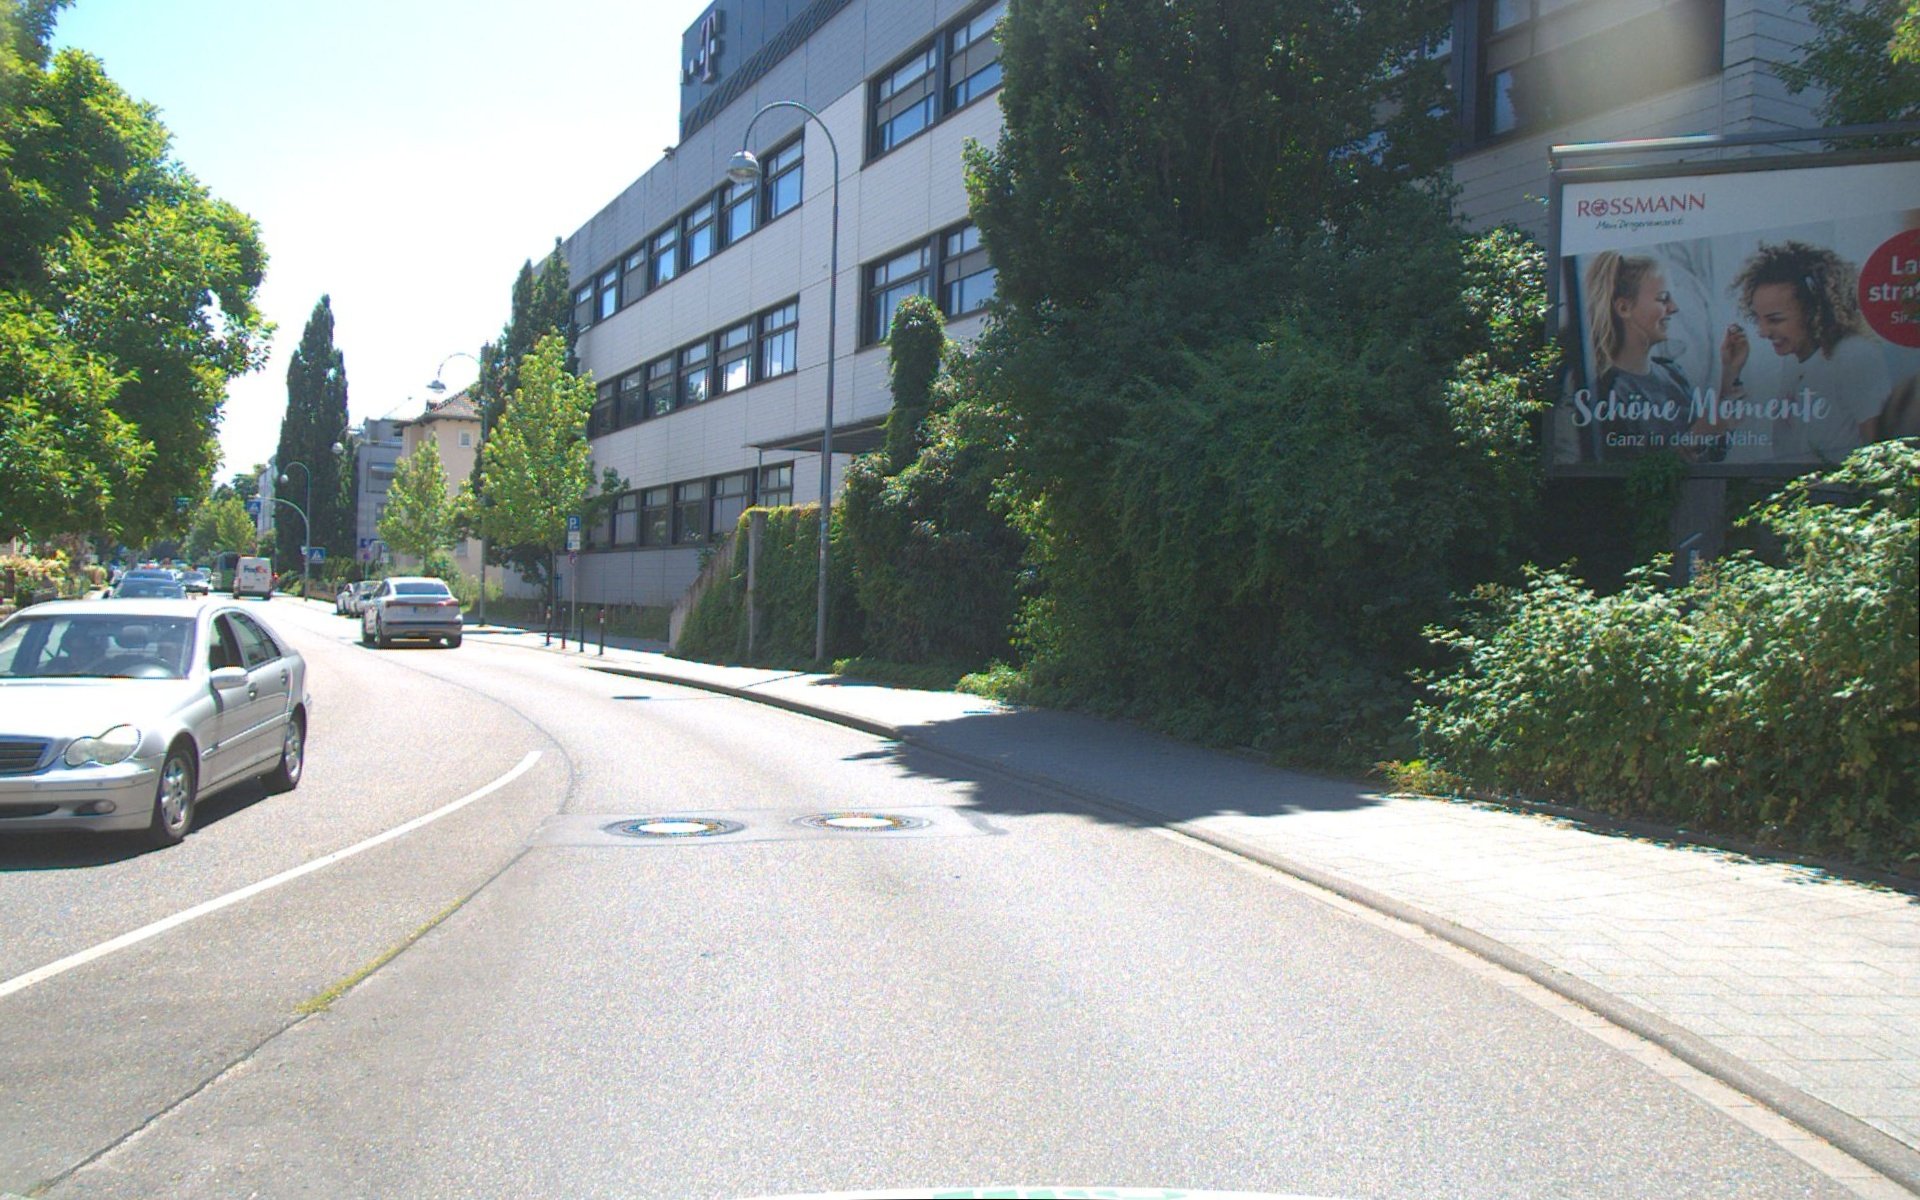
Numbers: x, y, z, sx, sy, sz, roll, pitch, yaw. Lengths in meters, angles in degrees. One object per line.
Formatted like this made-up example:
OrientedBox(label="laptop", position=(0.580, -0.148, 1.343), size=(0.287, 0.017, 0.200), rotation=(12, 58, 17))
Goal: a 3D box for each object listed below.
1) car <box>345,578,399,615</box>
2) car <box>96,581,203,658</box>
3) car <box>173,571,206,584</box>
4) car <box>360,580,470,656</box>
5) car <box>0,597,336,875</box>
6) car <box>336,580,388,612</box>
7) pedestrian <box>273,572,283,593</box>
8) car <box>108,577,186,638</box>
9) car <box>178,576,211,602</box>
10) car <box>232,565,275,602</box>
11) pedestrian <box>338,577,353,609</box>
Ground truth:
OrientedBox(label="car", position=(-25.217, -0.192, 70.830), size=(1.639, 1.514, 4.308), rotation=(0, 1, -27))
OrientedBox(label="car", position=(-17.813, 0.391, 36.406), size=(1.902, 1.461, 4.620), rotation=(4, -1, -26))
OrientedBox(label="car", position=(-107.935, -3.145, 231.680), size=(3.928, 1.680, 1.989), rotation=(1, 0, -20))
OrientedBox(label="car", position=(-13.441, 0.386, 40.651), size=(1.913, 1.642, 4.434), rotation=(-3, 2, -26))
OrientedBox(label="car", position=(-5.562, 0.732, 11.007), size=(1.725, 1.460, 4.296), rotation=(0, 1, -8))
OrientedBox(label="car", position=(-27.179, -0.216, 75.122), size=(1.705, 1.407, 4.363), rotation=(0, 1, -27))
OrientedBox(label="pedestrian", position=(-56.949, -1.487, 138.087), size=(0.687, 1.767, 0.661), rotation=(1, 0, -31))
OrientedBox(label="car", position=(-24.286, 0.189, 49.460), size=(1.902, 1.600, 4.620), rotation=(4, -1, -26))
OrientedBox(label="car", position=(-51.866, -0.739, 112.052), size=(1.949, 1.700, 4.436), rotation=(1, 0, -25))
OrientedBox(label="car", position=(-44.204, -1.059, 103.451), size=(2.046, 2.235, 5.091), rotation=(-1, 1, -28))
OrientedBox(label="pedestrian", position=(-34.614, -0.407, 93.138), size=(0.631, 1.789, 0.610), rotation=(1, 0, -31))
